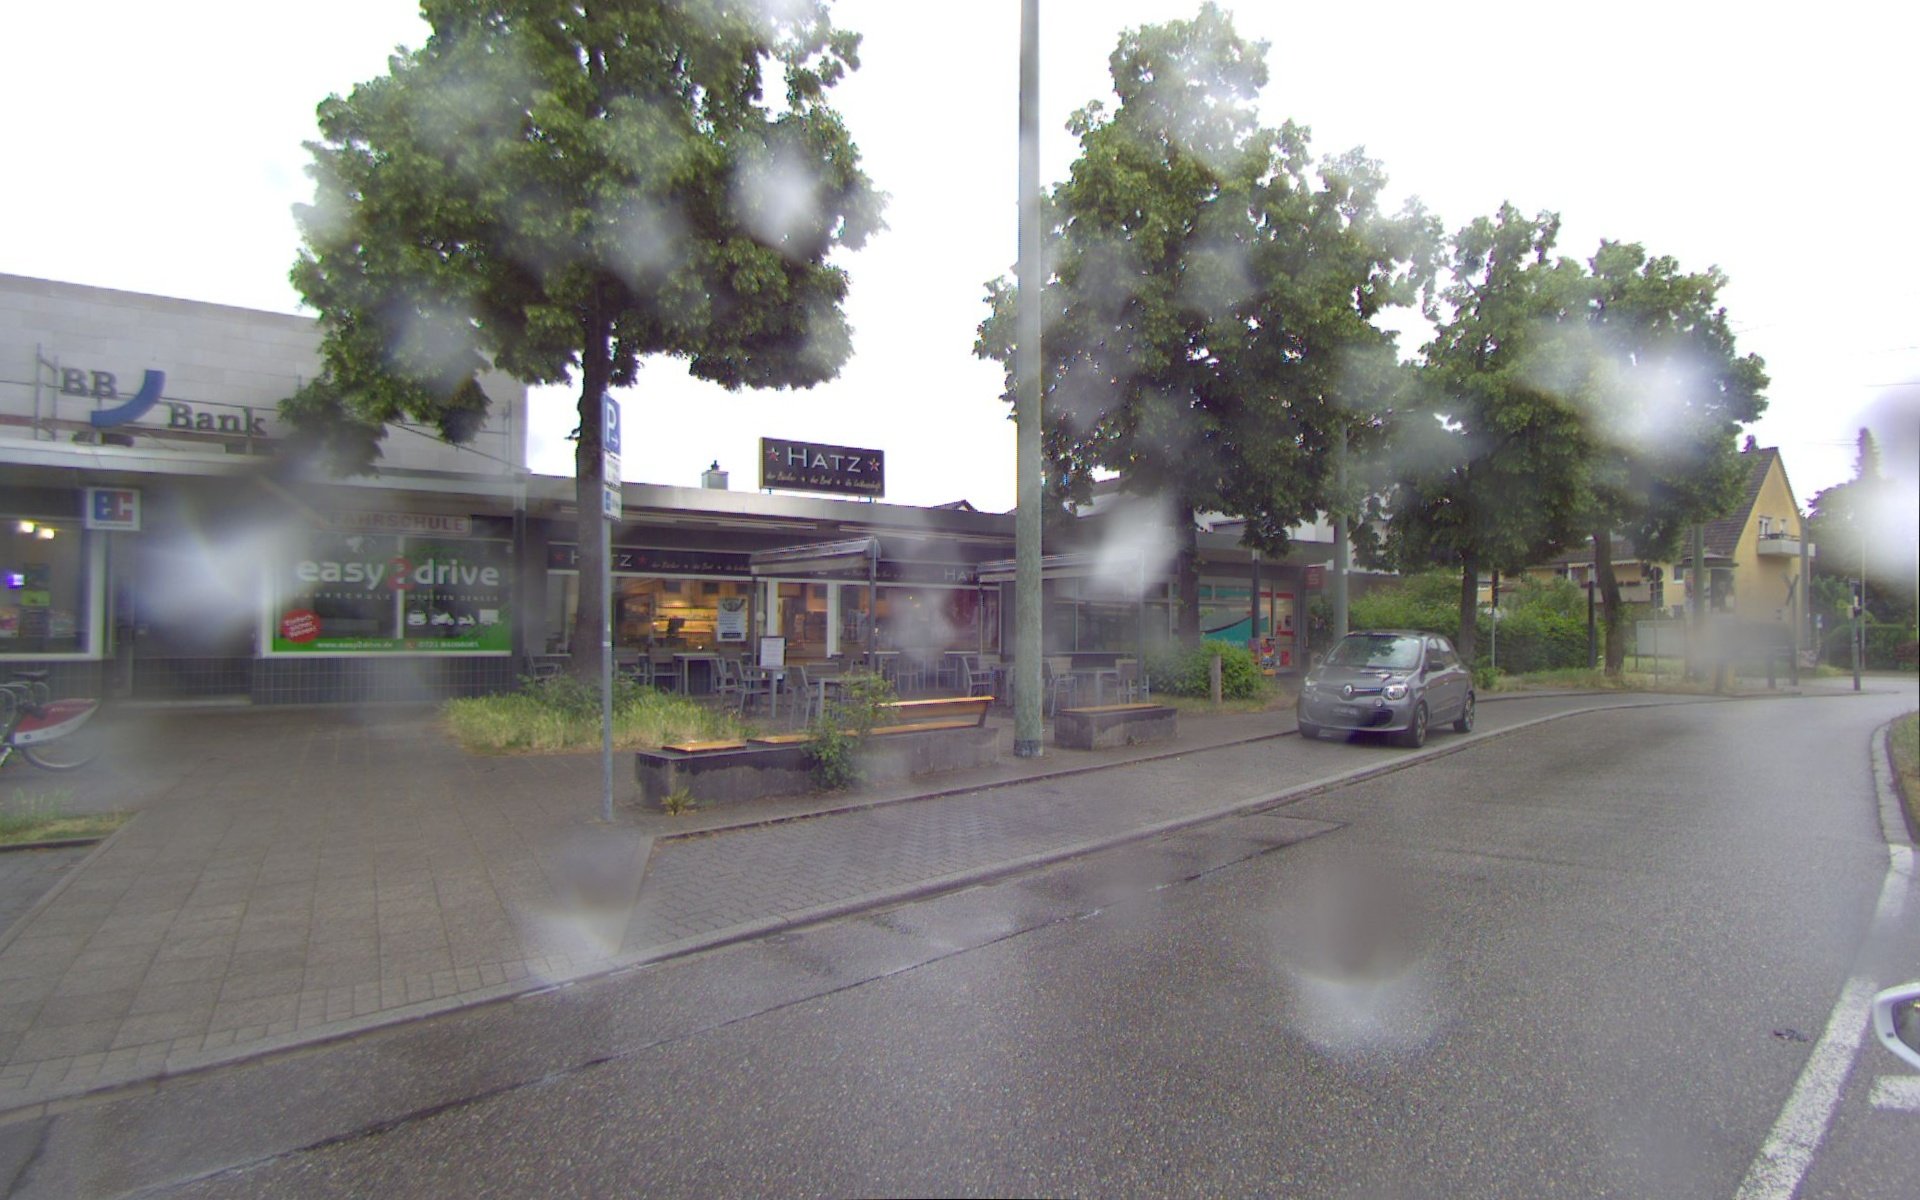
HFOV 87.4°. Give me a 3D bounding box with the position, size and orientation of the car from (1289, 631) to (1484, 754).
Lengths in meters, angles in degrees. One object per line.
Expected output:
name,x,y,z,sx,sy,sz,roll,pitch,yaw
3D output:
car,6.380,1.247,14.828,1.598,1.516,3.649,2,0,40

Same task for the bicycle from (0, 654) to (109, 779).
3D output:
bicycle,-9.003,1.080,9.251,0.314,1.122,1.739,2,0,43

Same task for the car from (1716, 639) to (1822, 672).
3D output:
car,41.964,2.858,52.185,1.815,1.476,3.960,2,0,-35
